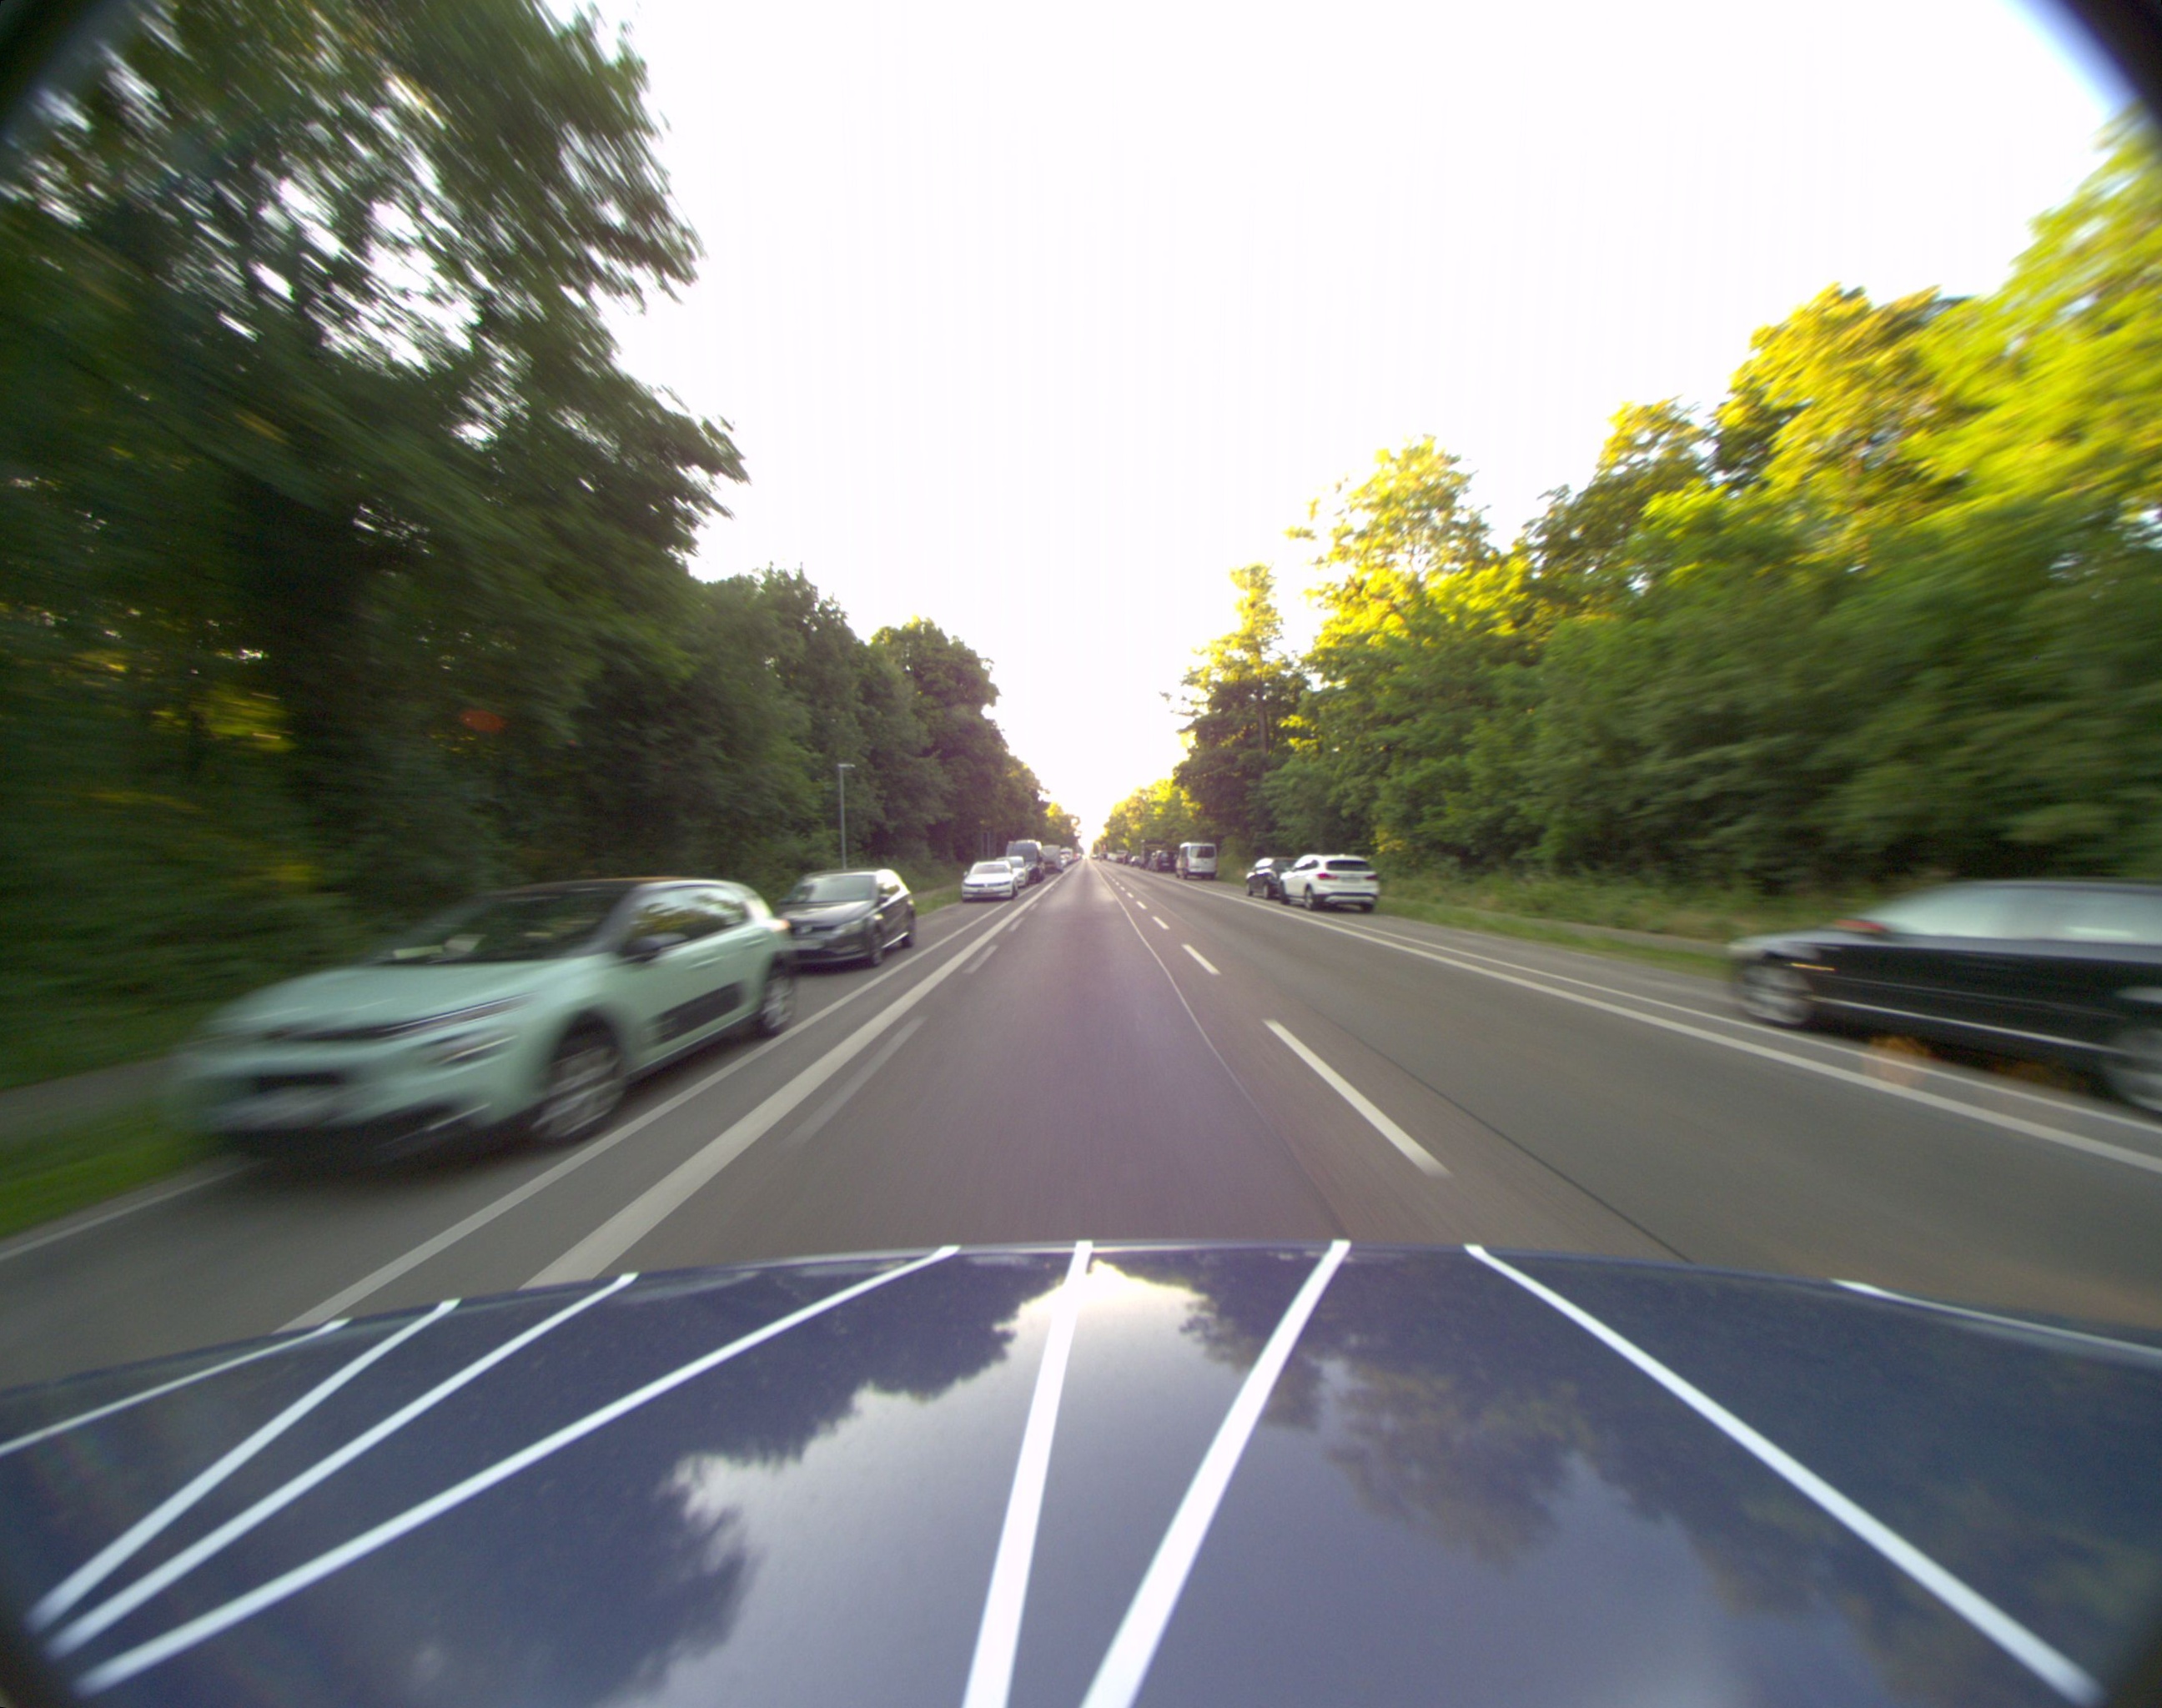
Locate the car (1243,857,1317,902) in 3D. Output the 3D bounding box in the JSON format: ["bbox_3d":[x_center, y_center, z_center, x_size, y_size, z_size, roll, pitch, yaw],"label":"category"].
[{"bbox_3d":[7.223,0.871,27.964,1.676,1.511,3.735,1,0,-1],"label":"car"}]

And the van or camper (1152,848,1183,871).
[{"bbox_3d":[7.887,0.480,69.779,2.034,1.945,4.691,2,0,-2],"label":"van or camper"}]

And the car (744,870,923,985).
[{"bbox_3d":[-3.736,1.027,12.204,1.583,1.438,3.960,-1,0,0],"label":"car"}]

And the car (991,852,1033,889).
[{"bbox_3d":[-3.593,0.822,40.151,1.856,1.754,4.723,-2,0,-2],"label":"car"}]

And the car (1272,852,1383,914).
[{"bbox_3d":[7.158,0.783,22.581,1.699,1.636,4.572,1,0,-1],"label":"car"}]

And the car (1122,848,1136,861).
[{"bbox_3d":[7.907,0.051,124.873,1.852,1.948,3.934,2,0,-1],"label":"car"}]

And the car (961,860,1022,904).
[{"bbox_3d":[-3.332,0.993,29.193,1.848,1.485,4.758,-2,0,-2],"label":"car"}]

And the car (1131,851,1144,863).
[{"bbox_3d":[7.620,0.391,103.091,1.606,1.495,3.760,3,0,3],"label":"car"}]

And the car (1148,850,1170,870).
[{"bbox_3d":[7.733,0.586,75.924,1.607,1.816,3.758,2,0,-2],"label":"car"}]

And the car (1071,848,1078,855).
[{"bbox_3d":[-1.700,-0.674,212.828,1.844,2.007,4.196,0,0,1],"label":"car"}]

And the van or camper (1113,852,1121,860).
[{"bbox_3d":[9.164,0.553,192.696,1.844,1.965,4.196,0,0,1],"label":"van or camper"}]

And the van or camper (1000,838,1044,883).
[{"bbox_3d":[-3.496,0.355,46.411,2.132,2.526,6.059,-2,1,0],"label":"van or camper"}]

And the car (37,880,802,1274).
[{"bbox_3d":[-3.599,1.035,5.324,1.693,1.537,4.112,-1,0,1],"label":"car"}]

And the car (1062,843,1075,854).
[{"bbox_3d":[-2.730,-1.099,163.457,2.537,2.270,5.554,0,0,1],"label":"car"}]

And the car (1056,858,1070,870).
[{"bbox_3d":[-2.686,1.458,112.347,1.844,1.585,4.196,0,0,1],"label":"car"}]

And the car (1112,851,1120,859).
[{"bbox_3d":[9.602,0.294,206.149,1.998,1.893,4.000,-2,1,1],"label":"car"}]

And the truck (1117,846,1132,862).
[{"bbox_3d":[8.835,-0.040,154.787,2.654,3.039,5.800,-2,1,1],"label":"truck"}]

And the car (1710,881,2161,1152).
[{"bbox_3d":[6.803,0.960,5.225,1.601,1.386,4.051,0,0,0],"label":"car"}]

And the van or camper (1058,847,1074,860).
[{"bbox_3d":[-2.977,-0.109,152.615,3.015,2.704,6.960,0,0,1],"label":"van or camper"}]

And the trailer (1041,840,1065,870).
[{"bbox_3d":[-2.549,0.061,69.438,1.866,2.633,4.269,-2,1,0],"label":"trailer"}]

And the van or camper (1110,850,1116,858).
[{"bbox_3d":[9.769,-0.050,231.607,1.844,2.264,4.196,0,0,1],"label":"van or camper"}]

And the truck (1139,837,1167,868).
[{"bbox_3d":[7.790,-0.189,83.070,2.226,3.188,6.270,2,0,-1],"label":"truck"}]

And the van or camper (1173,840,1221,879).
[{"bbox_3d":[7.581,0.337,50.319,2.116,2.376,6.380,2,0,-1],"label":"van or camper"}]
